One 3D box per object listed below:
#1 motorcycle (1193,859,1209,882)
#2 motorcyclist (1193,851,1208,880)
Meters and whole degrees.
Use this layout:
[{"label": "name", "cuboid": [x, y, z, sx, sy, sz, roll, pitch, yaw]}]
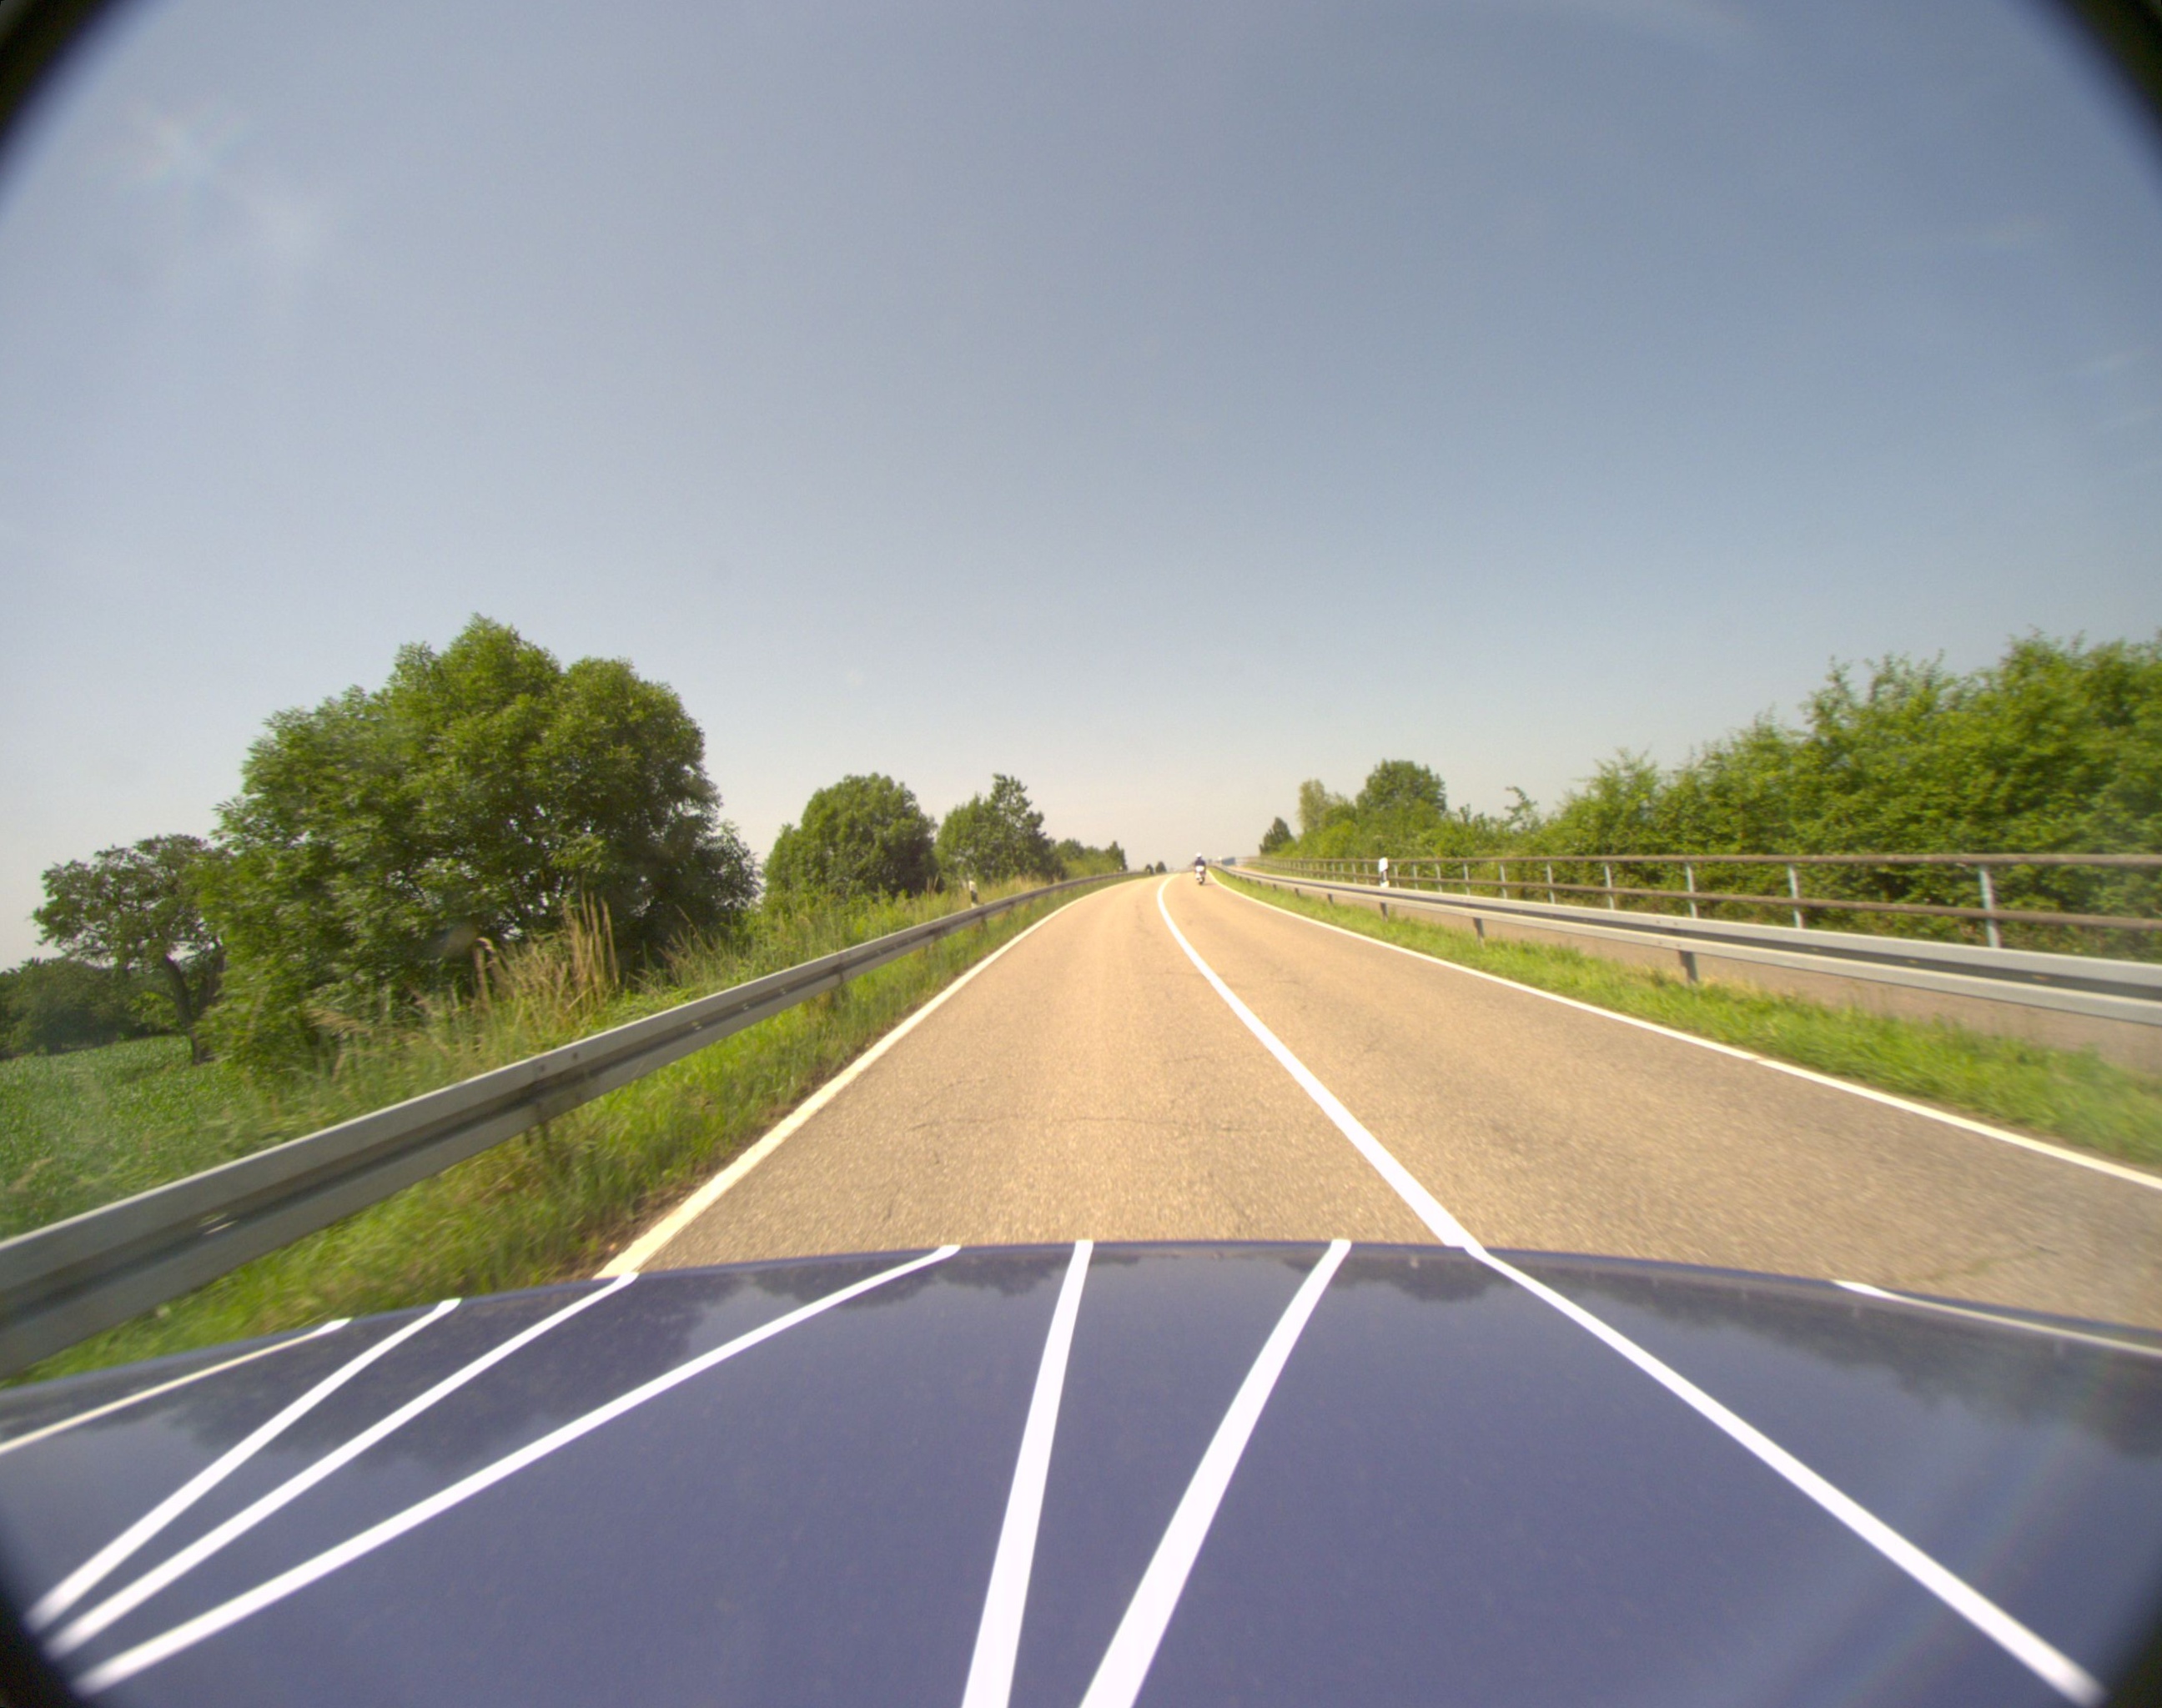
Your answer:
[{"label": "motorcycle", "cuboid": [6.571, 0.899, 41.749, 0.644, 1.216, 1.639, -2, 0, 3]}, {"label": "motorcyclist", "cuboid": [6.546, 0.632, 41.731, 0.656, 1.553, 0.775, -2, 0, 3]}]
